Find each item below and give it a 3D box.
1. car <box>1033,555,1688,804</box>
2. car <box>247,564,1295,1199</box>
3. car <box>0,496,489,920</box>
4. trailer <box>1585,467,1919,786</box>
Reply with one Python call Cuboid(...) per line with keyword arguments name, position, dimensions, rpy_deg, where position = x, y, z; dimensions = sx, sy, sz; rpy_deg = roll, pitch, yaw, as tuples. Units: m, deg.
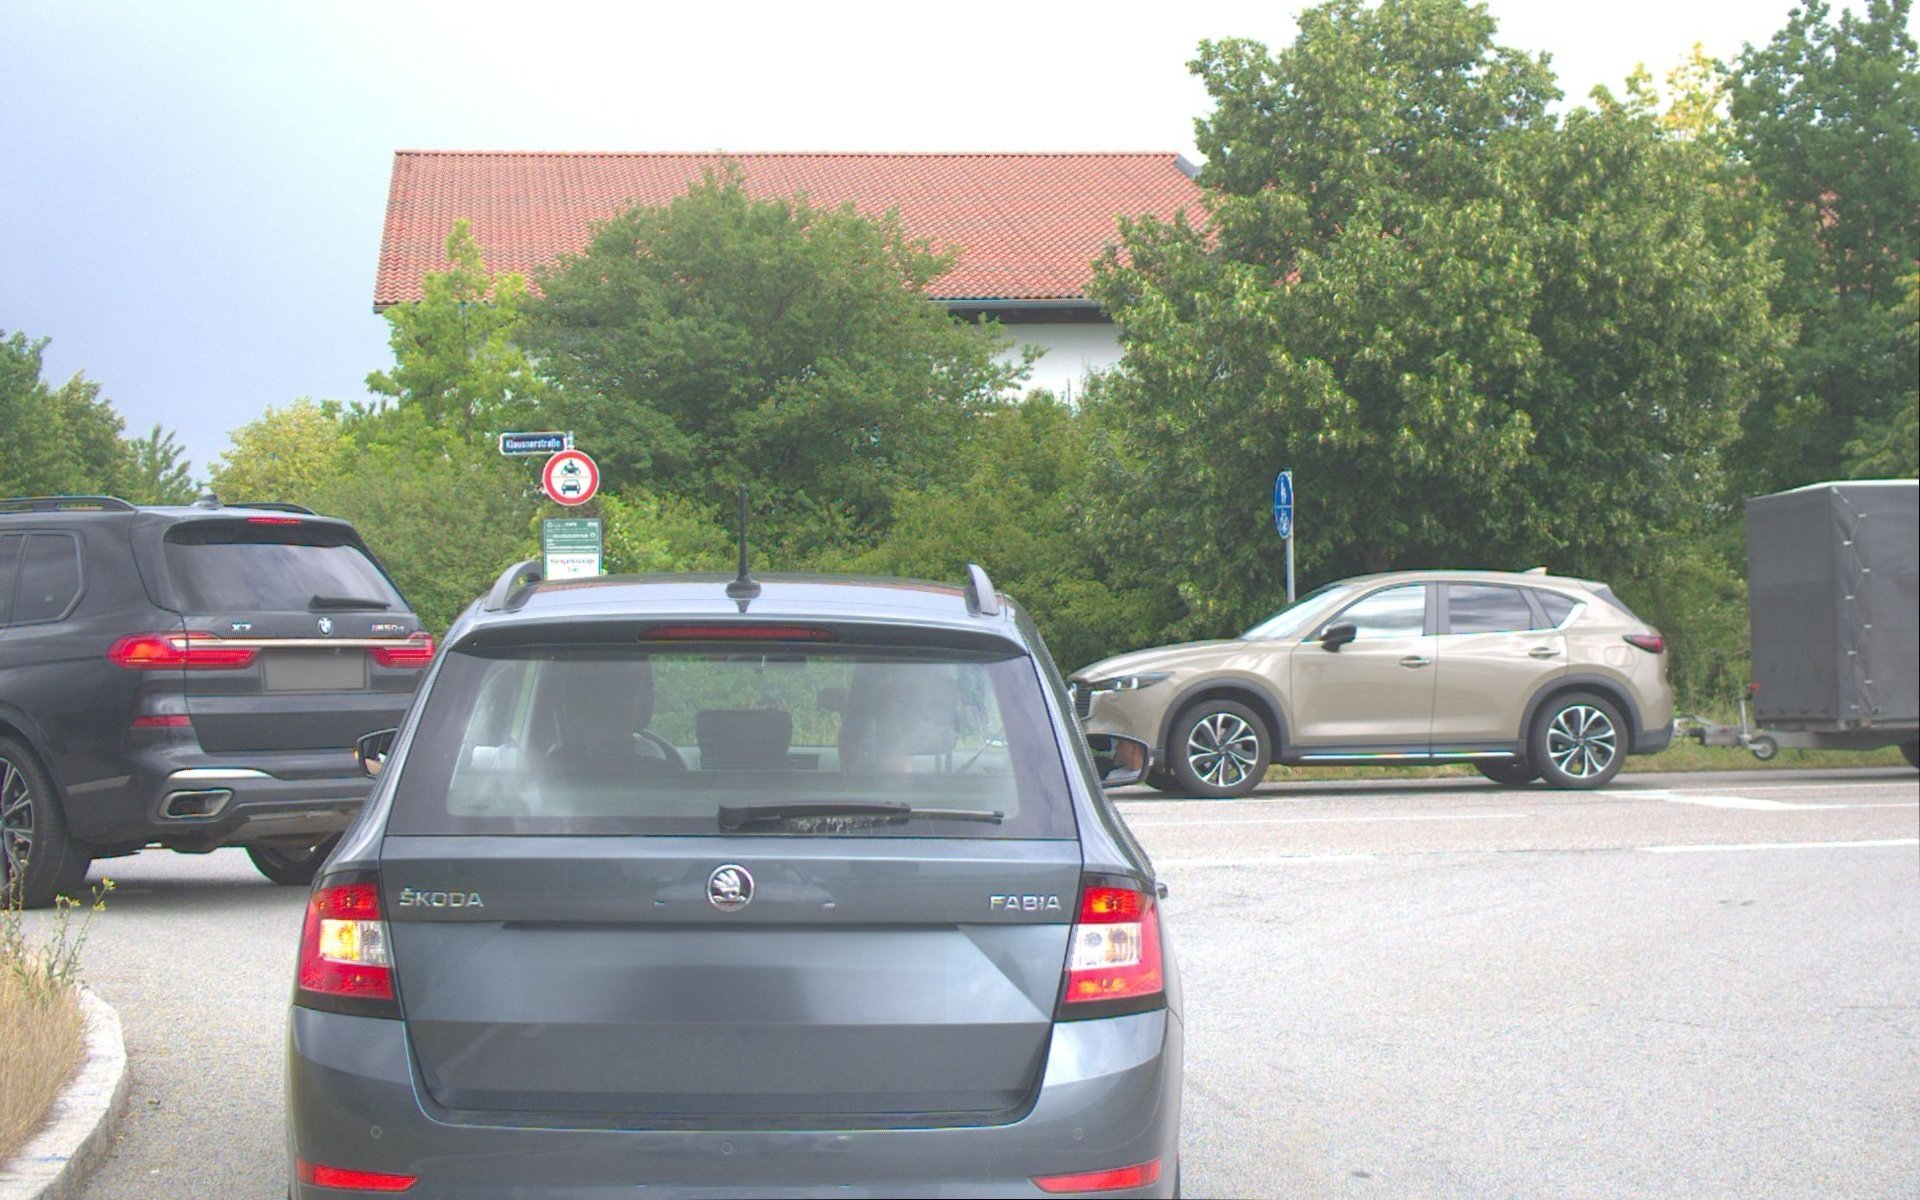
Cuboid(name="car", position=(2.954, 0.575, 25.866), dimensions=(4.463, 1.676, 2.000), rpy_deg=(-1, -1, -10))
Cuboid(name="car", position=(-0.496, 0.668, 7.365), dimensions=(1.676, 1.458, 3.708), rpy_deg=(0, 0, -6))
Cuboid(name="car", position=(-4.641, 0.472, 16.531), dimensions=(4.638, 1.768, 1.996), rpy_deg=(-1, 0, 37))
Cuboid(name="trailer", position=(7.376, 0.170, 26.581), dimensions=(4.380, 2.285, 2.418), rpy_deg=(-1, -1, -9))
